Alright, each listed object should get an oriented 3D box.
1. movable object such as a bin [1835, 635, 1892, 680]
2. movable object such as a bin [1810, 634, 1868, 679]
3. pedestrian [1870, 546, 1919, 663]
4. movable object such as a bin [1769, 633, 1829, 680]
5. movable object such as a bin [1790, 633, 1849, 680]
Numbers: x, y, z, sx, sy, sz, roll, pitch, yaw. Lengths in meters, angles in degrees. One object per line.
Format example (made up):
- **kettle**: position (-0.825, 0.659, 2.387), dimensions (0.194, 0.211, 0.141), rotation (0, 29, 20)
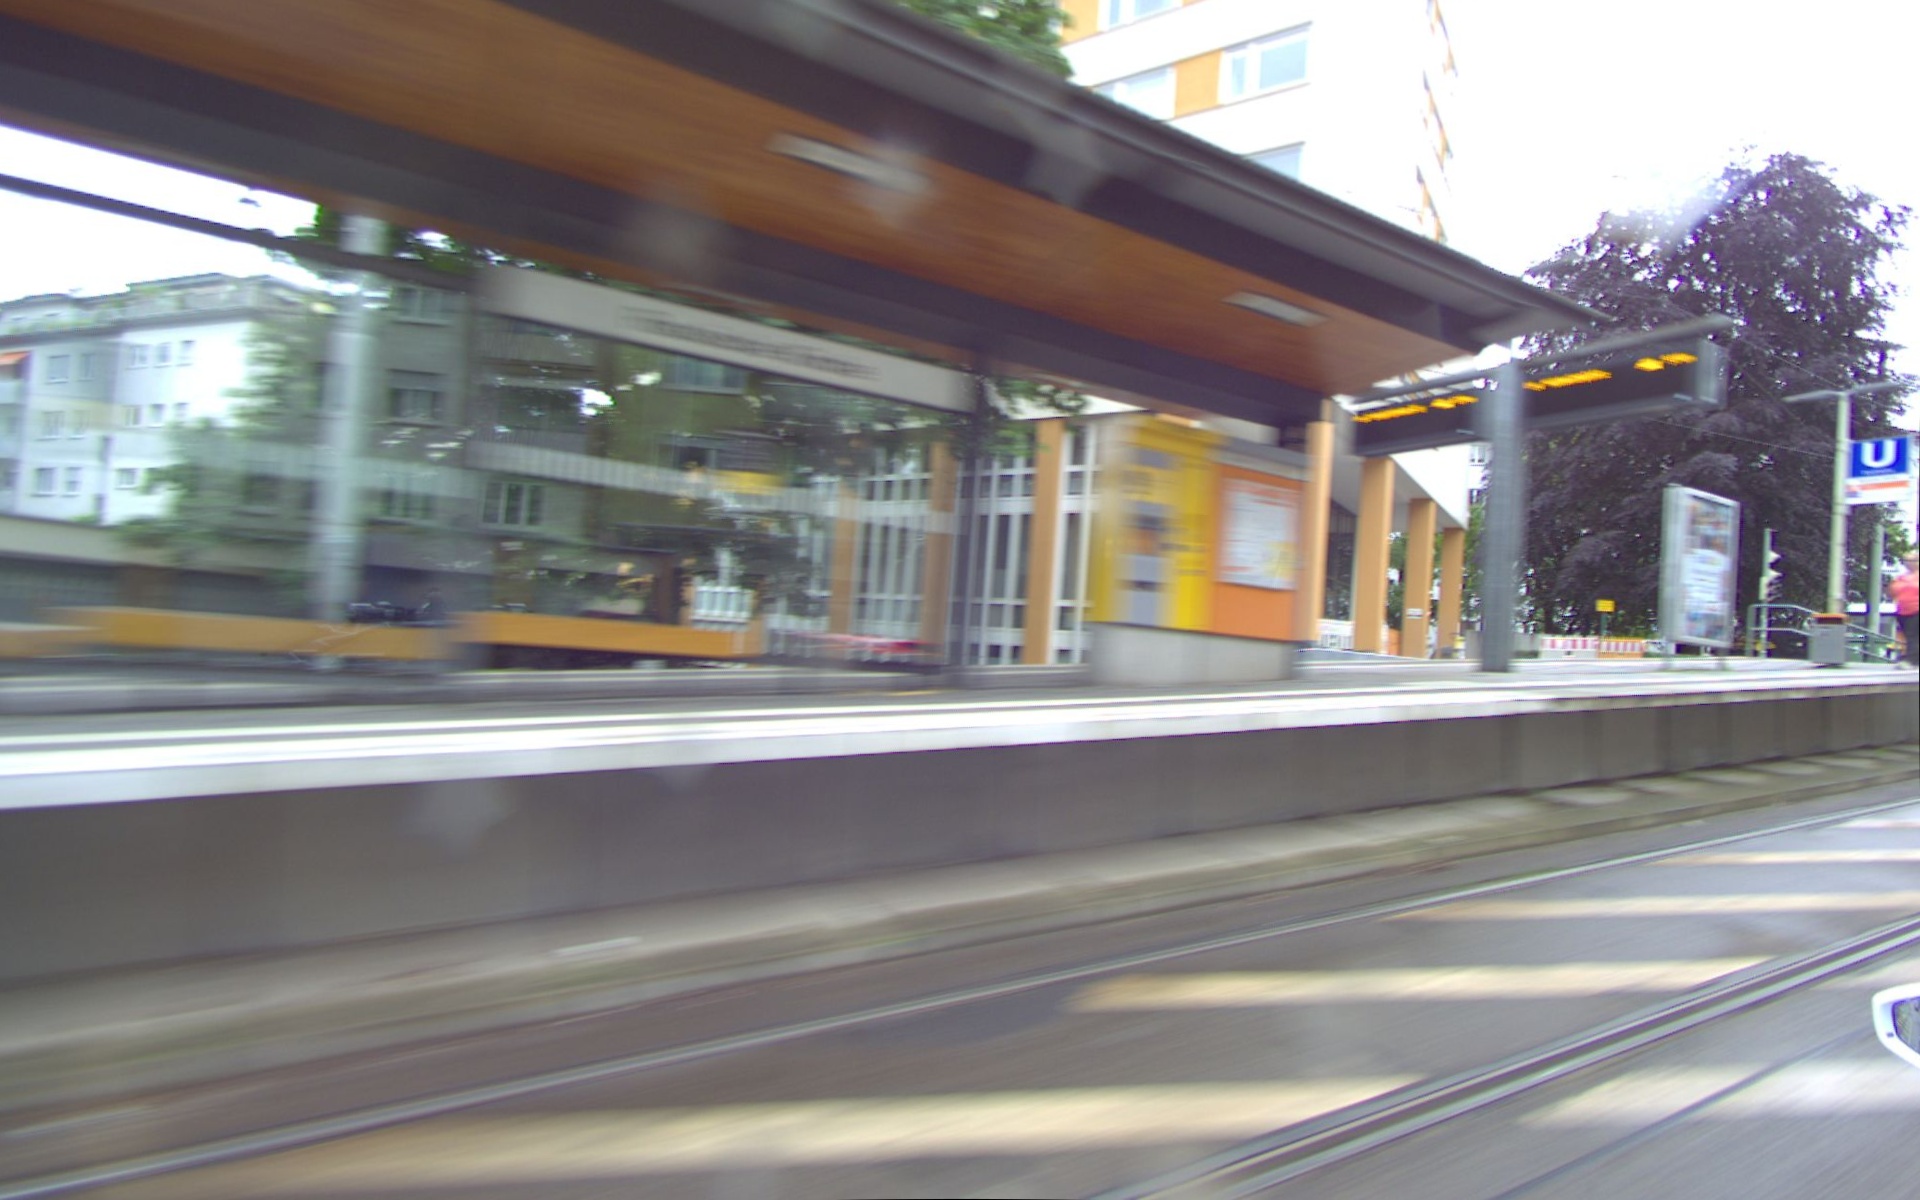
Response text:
- **movable object such as a bin**: position (31.224, 1.980, 34.724), dimensions (1.410, 1.453, 1.016), rotation (2, 0, -28)
- **movable object such as a bin**: position (29.652, 1.903, 33.893), dimensions (1.426, 1.453, 1.016), rotation (2, 0, -28)
- **pedestrian**: position (13.029, 0.069, 13.747), dimensions (0.762, 1.568, 0.667), rotation (1, -1, -31)
- **movable object such as a bin**: position (26.983, 1.814, 32.308), dimensions (1.288, 1.453, 1.016), rotation (2, 0, -28)
- **movable object such as a bin**: position (28.250, 1.858, 33.018), dimensions (1.339, 1.453, 1.016), rotation (2, 0, -28)
